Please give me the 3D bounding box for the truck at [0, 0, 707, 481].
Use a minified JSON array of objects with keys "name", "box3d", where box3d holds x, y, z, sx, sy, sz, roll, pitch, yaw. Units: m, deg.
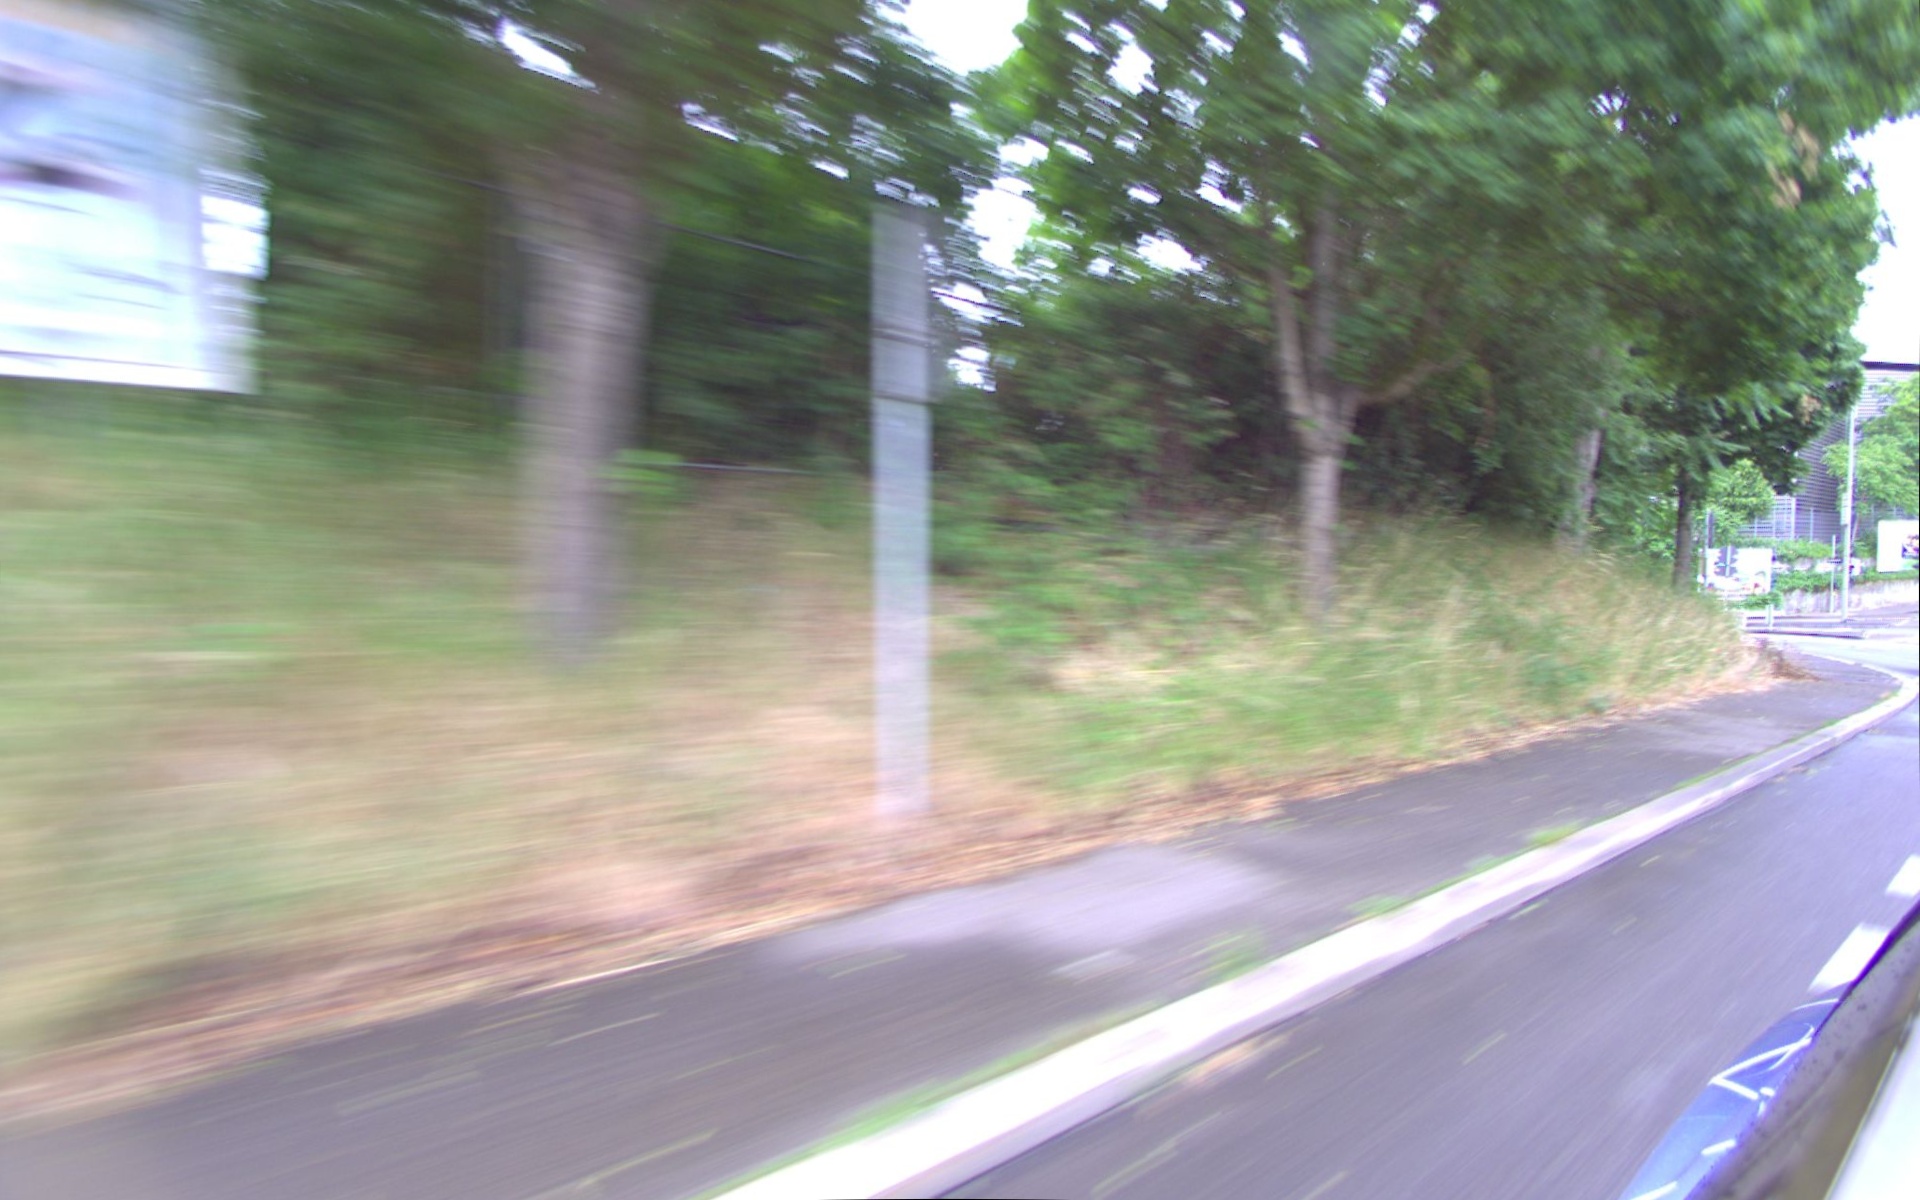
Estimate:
[{"name":"truck","box3d":[-5.516,-2.644,8.778,5.948,2.684,2.288,-3,-2,-41]}]
